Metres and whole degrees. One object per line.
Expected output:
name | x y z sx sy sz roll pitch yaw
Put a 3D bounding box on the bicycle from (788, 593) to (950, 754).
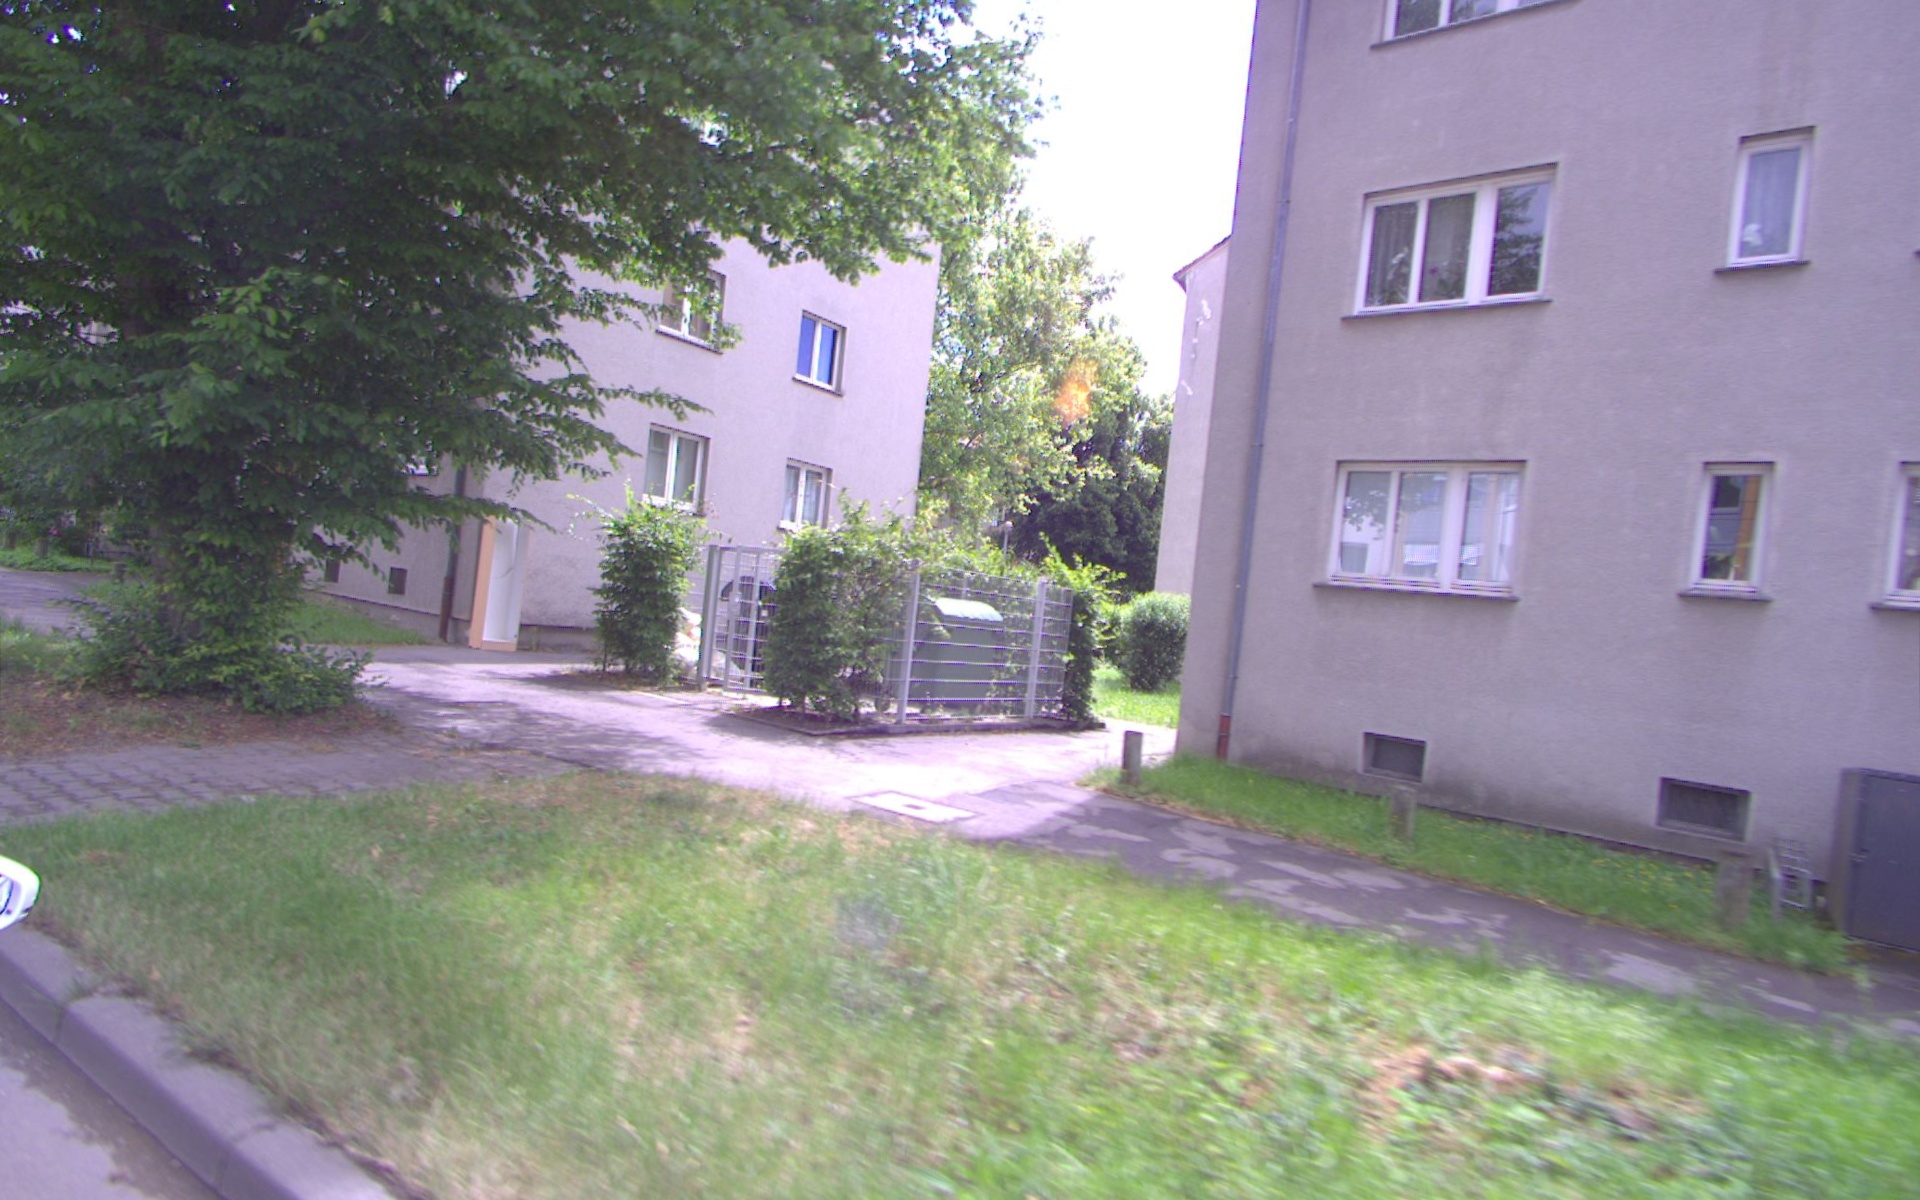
bicycle | -1.006 0.809 11.317 1.054 1.594 1.348 7 1 34
